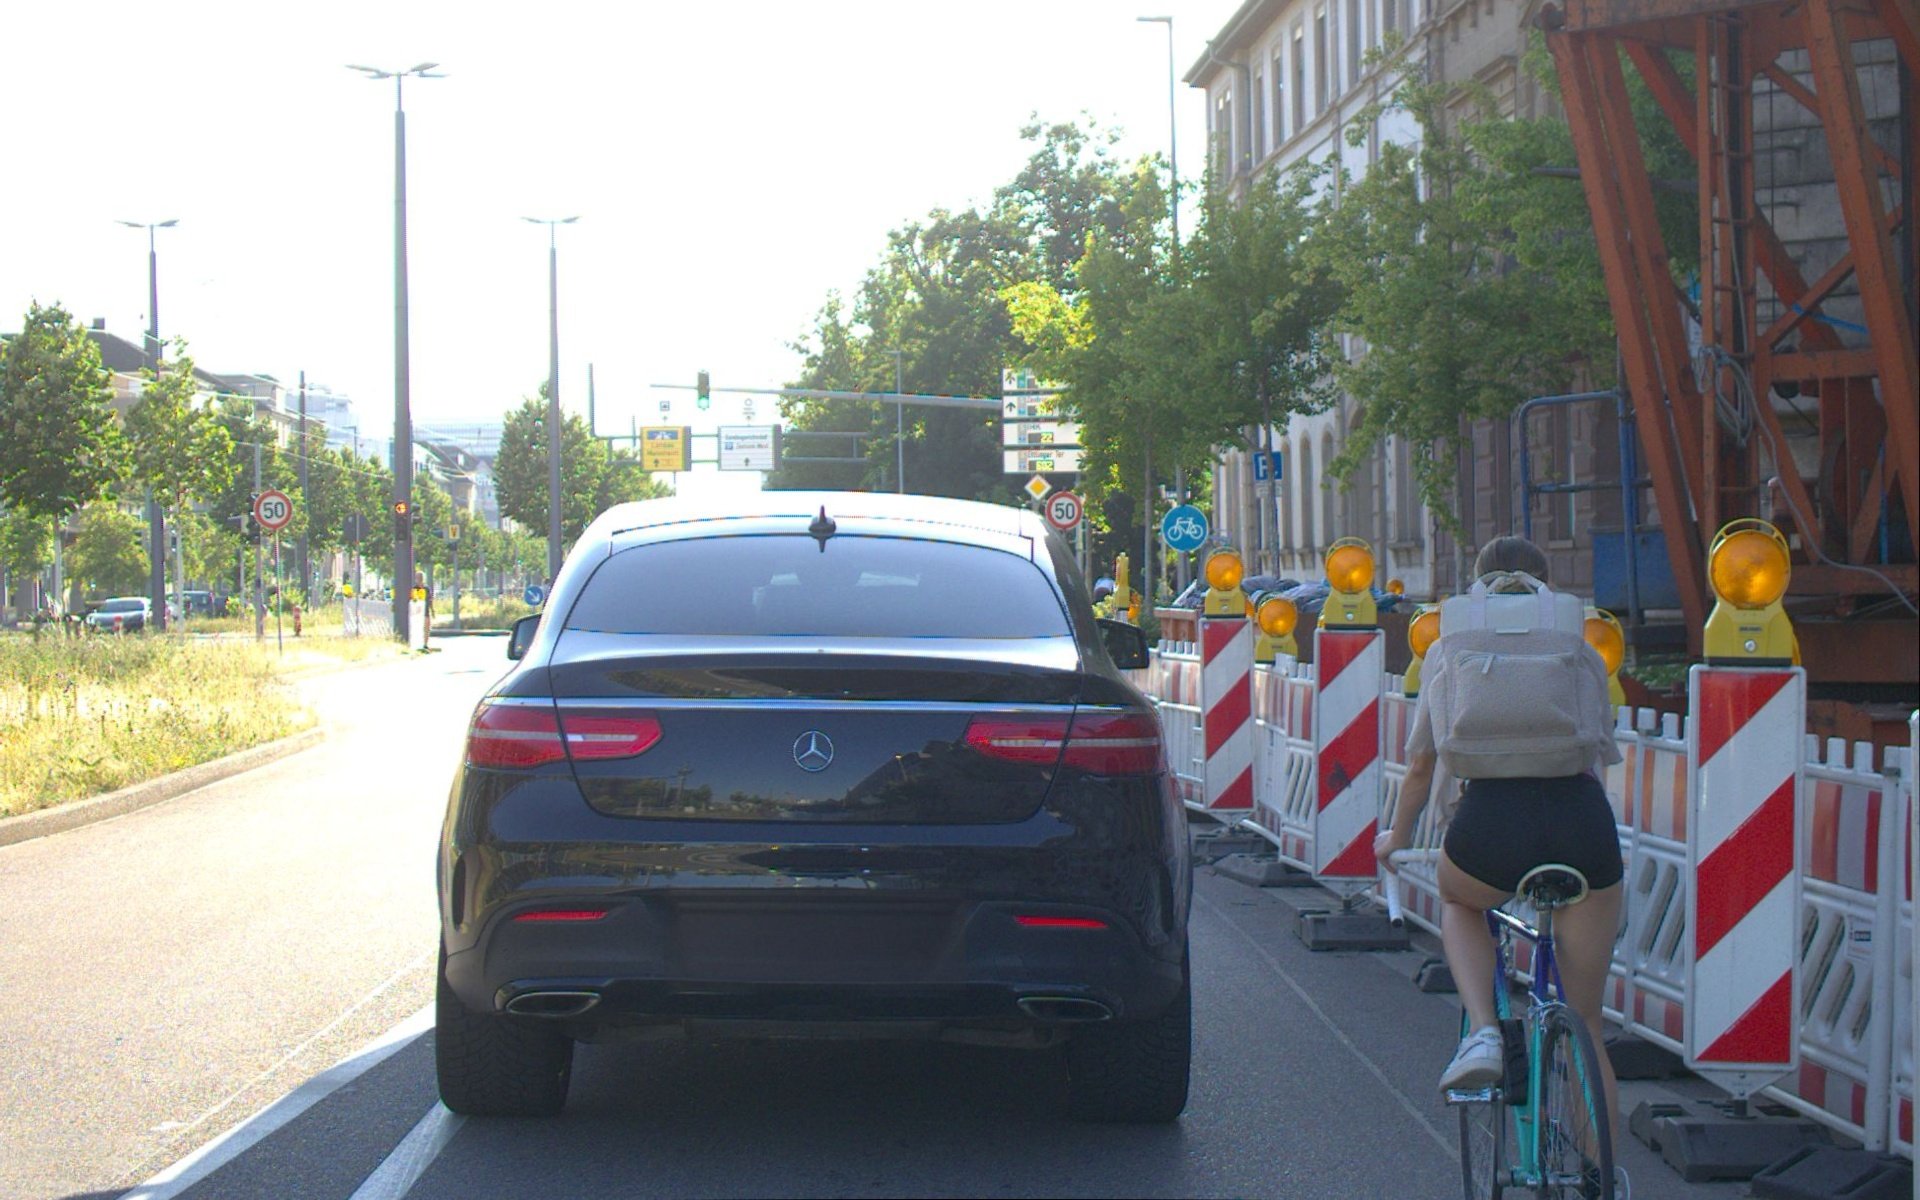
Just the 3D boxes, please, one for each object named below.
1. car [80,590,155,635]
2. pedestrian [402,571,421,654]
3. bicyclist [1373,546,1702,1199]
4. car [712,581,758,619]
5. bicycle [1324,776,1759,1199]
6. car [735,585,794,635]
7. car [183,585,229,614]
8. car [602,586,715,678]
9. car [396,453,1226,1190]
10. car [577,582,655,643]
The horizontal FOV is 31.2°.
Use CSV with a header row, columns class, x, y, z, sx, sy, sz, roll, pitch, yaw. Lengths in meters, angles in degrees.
class,x,y,z,sx,sy,sz,roll,pitch,yaw
car,-27.833,0.406,113.672,1.708,1.437,3.583,1,0,-3
pedestrian,-11.720,0.262,73.465,0.334,1.757,0.418,1,0,-3
bicyclist,1.163,0.592,7.012,0.522,1.391,0.615,1,0,-3
car,-8.723,0.005,133.367,1.708,1.437,3.583,1,0,-3
bicycle,1.157,0.941,7.163,0.512,1.048,1.725,1,0,-3
car,-5.794,0.281,102.185,1.708,1.437,3.583,1,0,-3
car,-38.700,-0.026,176.439,1.708,1.437,3.583,1,0,-3
car,-4.957,0.497,56.864,1.708,1.437,3.583,0,1,-3
car,-0.381,0.528,10.346,1.993,1.766,4.000,1,0,-1
car,-8.451,0.297,84.693,1.708,1.437,3.583,1,0,-3
